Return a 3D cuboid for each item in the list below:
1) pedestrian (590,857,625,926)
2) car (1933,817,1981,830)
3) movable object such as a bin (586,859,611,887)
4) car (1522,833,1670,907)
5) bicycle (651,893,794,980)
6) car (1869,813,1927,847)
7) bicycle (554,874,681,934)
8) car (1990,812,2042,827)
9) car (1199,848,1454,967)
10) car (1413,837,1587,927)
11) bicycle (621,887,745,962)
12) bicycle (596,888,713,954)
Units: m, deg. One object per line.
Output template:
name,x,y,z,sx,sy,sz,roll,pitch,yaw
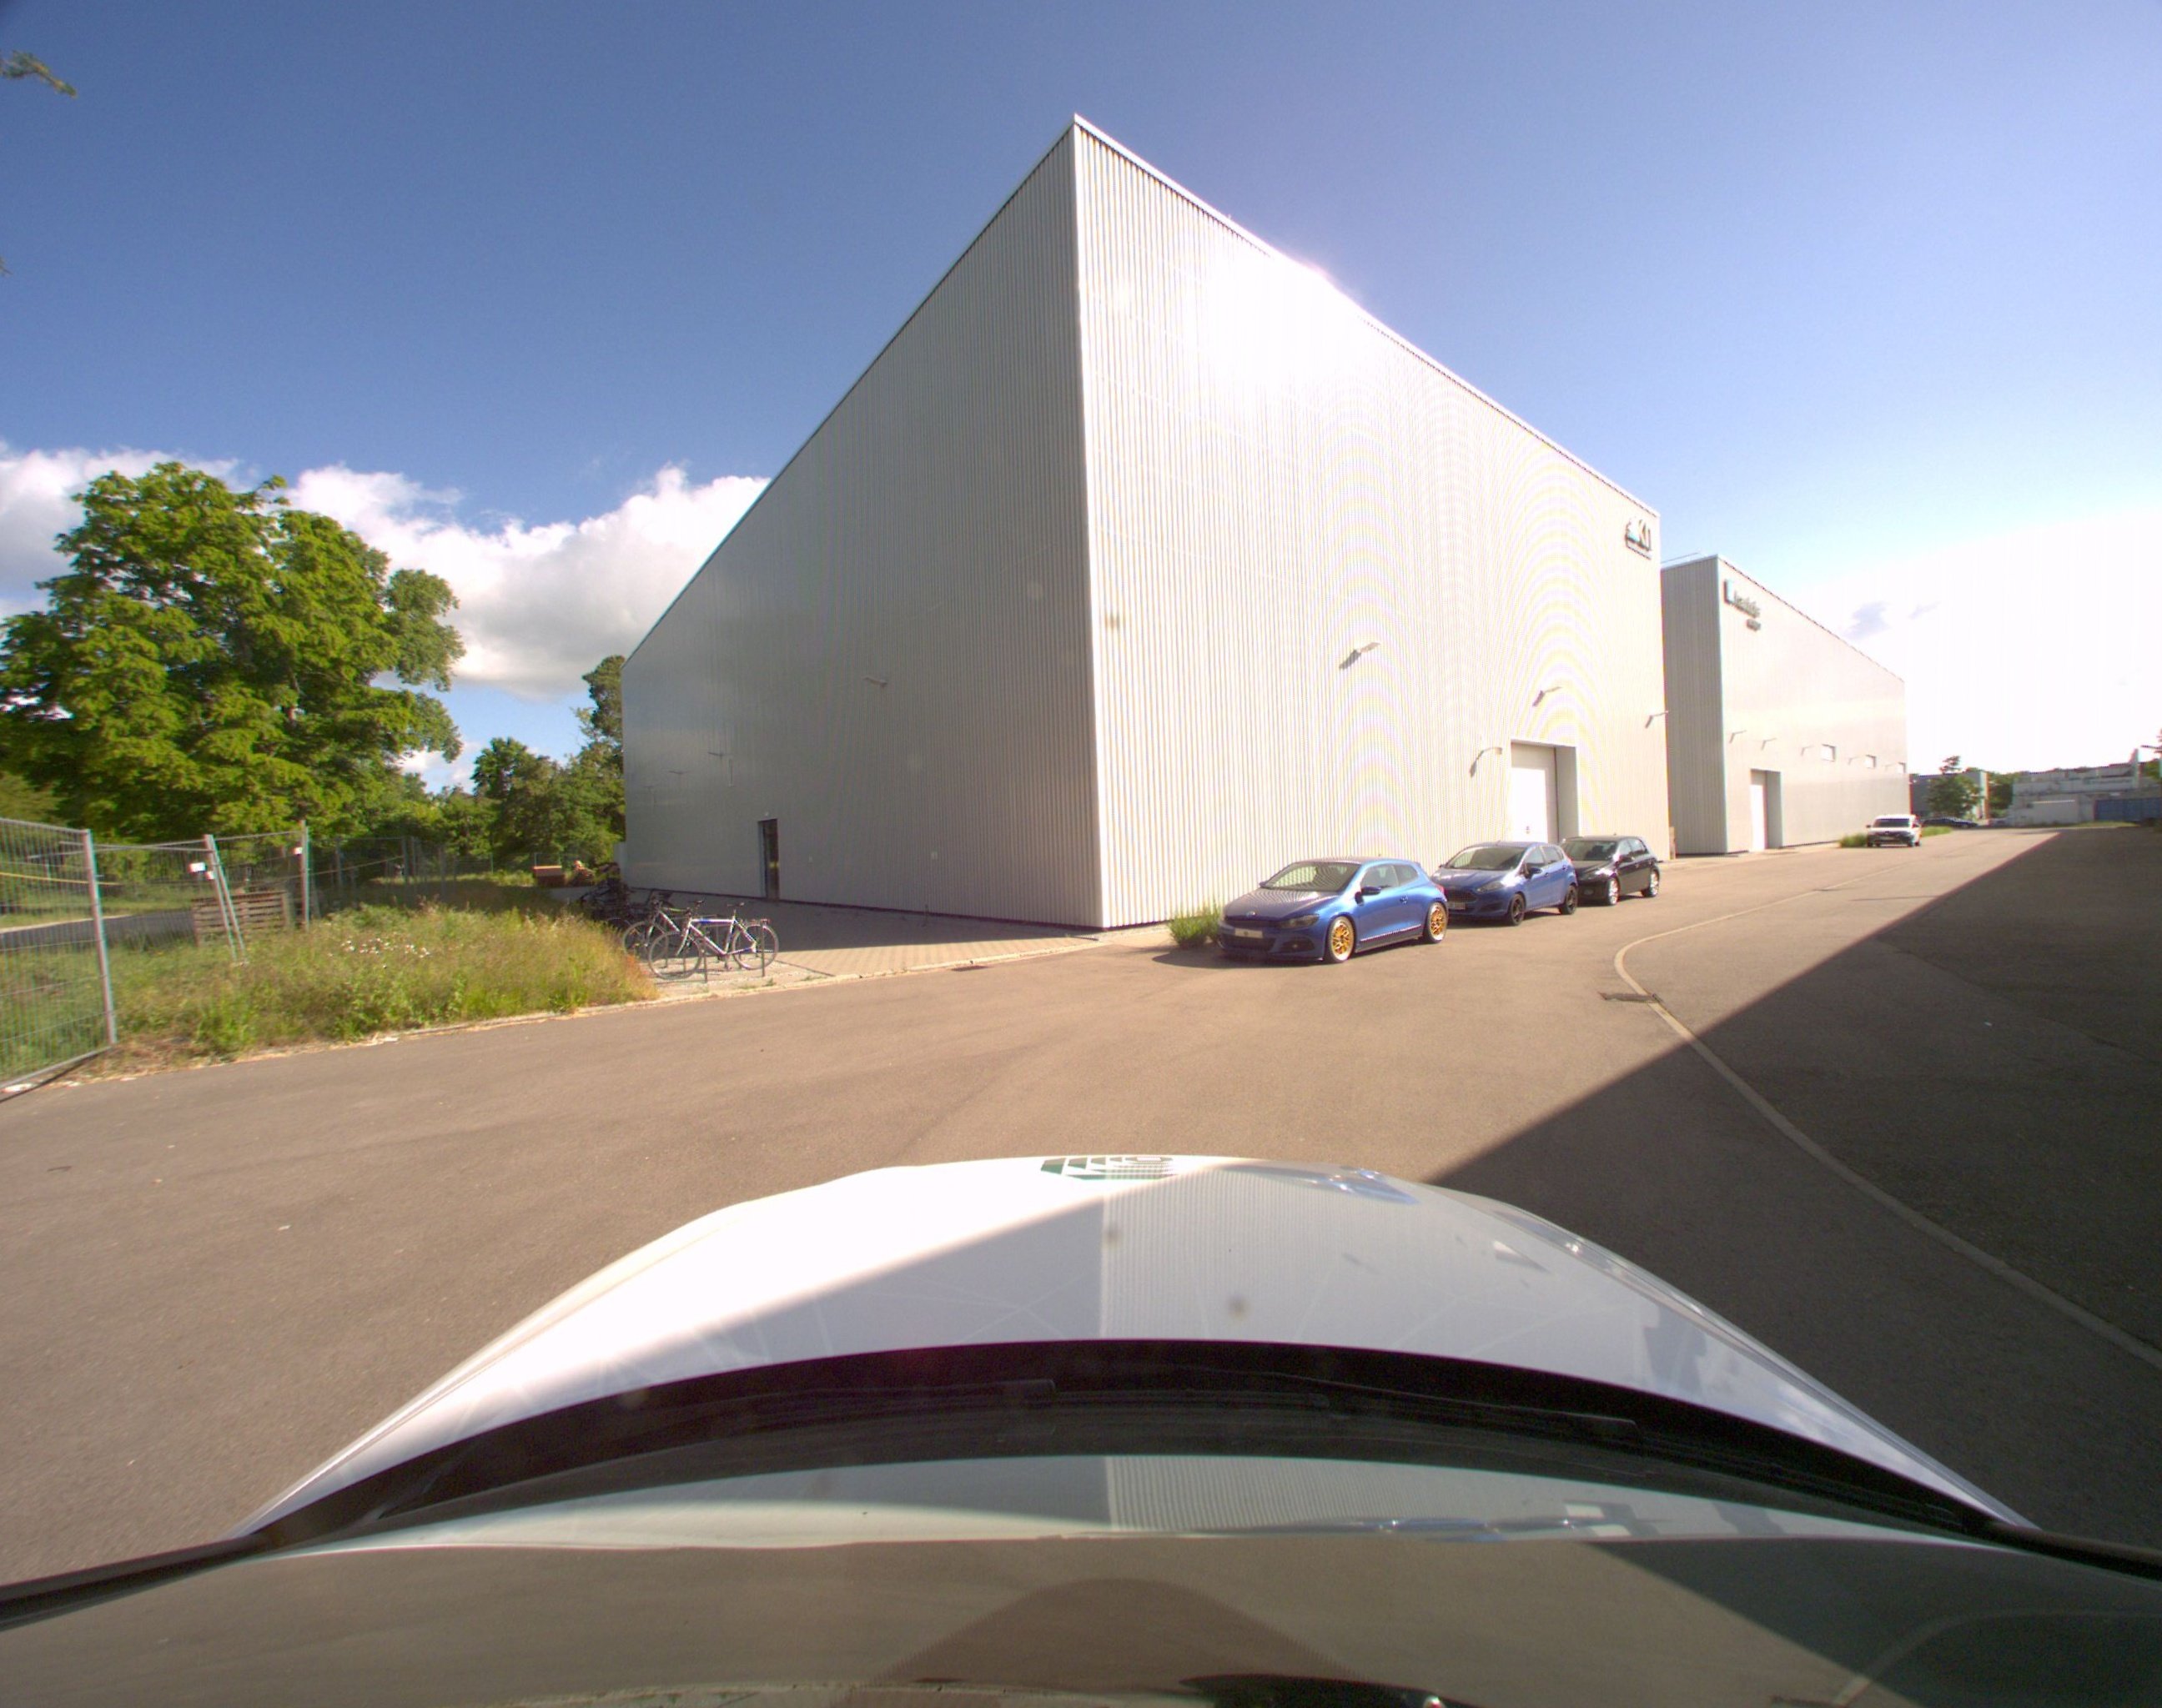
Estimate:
pedestrian,-12.161,0.950,20.928,0.509,1.728,0.634,-2,0,-4
car,107.452,-3.738,99.939,1.631,1.461,3.852,-2,0,-39
movable object such as a bin,-35.152,1.375,59.339,1.429,2.013,1.113,-2,0,-34
car,11.848,0.279,18.661,3.897,1.445,1.637,-2,3,-38
bicycle,-5.152,1.153,11.787,1.816,1.062,0.454,-2,0,-43
car,45.588,-1.355,45.421,4.021,1.794,1.891,-2,0,-40
bicycle,-11.534,1.209,20.289,2.649,1.266,1.129,-2,0,-34
car,109.671,-4.022,95.569,1.630,1.461,3.855,-2,0,-35
car,3.711,0.648,11.979,3.974,1.350,1.654,-2,2,-39
car,8.079,0.441,15.583,3.784,1.447,1.606,-2,1,-40
bicycle,-6.711,1.165,13.783,1.806,1.082,0.519,-2,0,-37
bicycle,-8.242,1.261,15.787,1.904,1.094,0.520,-3,0,-40
